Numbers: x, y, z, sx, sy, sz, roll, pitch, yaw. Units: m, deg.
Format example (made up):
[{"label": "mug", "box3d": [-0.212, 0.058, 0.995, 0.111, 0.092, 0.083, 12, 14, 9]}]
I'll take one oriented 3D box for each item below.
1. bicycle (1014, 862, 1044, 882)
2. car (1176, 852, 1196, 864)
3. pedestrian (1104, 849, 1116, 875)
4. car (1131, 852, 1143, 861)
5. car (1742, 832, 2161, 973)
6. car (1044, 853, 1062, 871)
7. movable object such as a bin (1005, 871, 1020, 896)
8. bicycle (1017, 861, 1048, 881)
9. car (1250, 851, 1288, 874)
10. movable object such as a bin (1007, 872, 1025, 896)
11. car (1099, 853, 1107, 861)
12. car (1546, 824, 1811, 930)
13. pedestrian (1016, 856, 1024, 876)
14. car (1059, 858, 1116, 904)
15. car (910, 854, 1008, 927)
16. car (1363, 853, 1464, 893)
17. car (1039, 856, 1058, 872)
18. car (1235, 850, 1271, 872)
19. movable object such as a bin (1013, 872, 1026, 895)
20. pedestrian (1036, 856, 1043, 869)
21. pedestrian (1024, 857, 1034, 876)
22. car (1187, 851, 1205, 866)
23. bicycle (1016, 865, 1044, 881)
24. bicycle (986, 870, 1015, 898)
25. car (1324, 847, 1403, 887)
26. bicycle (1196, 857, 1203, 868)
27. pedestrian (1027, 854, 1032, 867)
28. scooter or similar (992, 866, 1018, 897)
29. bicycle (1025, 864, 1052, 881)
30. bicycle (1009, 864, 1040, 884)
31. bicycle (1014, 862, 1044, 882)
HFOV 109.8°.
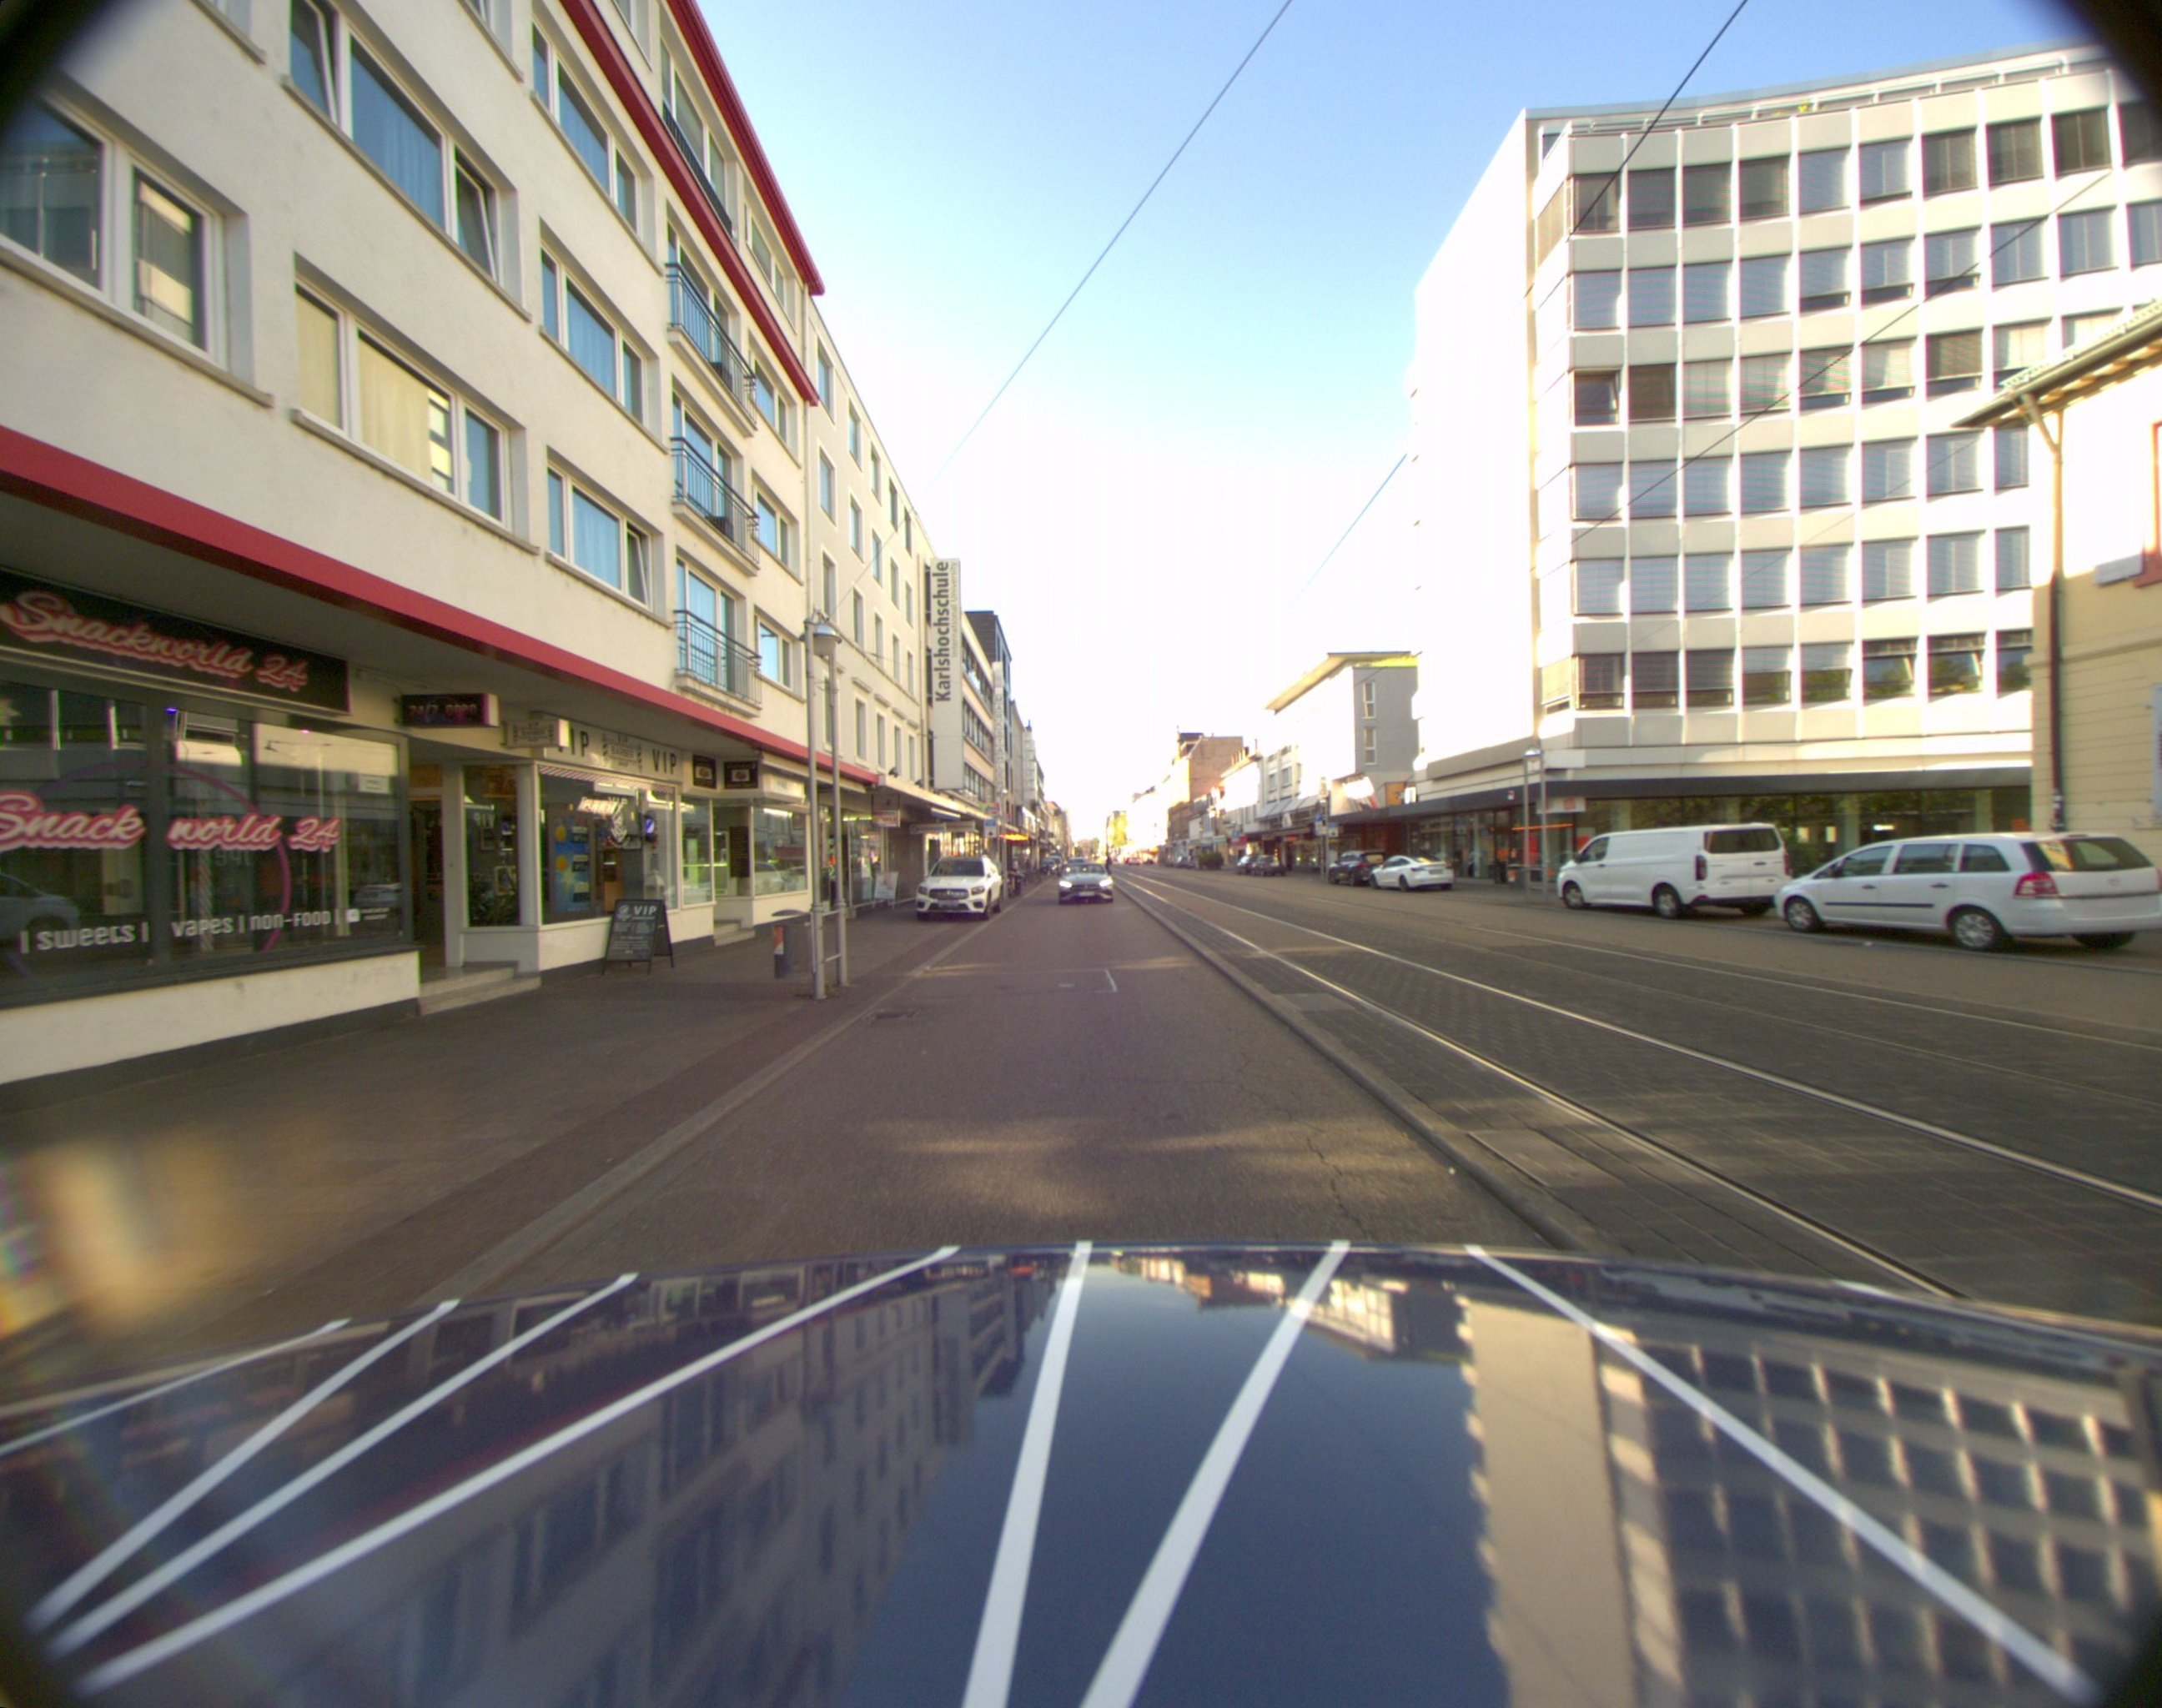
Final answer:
[{"label": "bicycle", "box3d": [-3.159, 1.099, 46.179, 1.792, 1.210, 0.669, 0, 0, -1]}, {"label": "car", "box3d": [13.522, 0.504, 98.113, 1.822, 1.505, 4.762, -2, 0, 0]}, {"label": "pedestrian", "box3d": [2.079, 0.559, 54.243, 0.806, 1.827, 0.746, 0, 1, -1]}, {"label": "car", "box3d": [10.266, 0.438, 139.206, 1.802, 1.625, 3.675, -1, 1, 0]}, {"label": "car", "box3d": [13.155, 0.581, 11.811, 1.812, 1.676, 4.649, -3, 1, 3]}, {"label": "car", "box3d": [-3.015, 0.843, 82.032, 1.821, 1.849, 4.548, 0, 1, -3]}, {"label": "movable object such as a bin", "box3d": [-2.839, 1.235, 31.657, 0.523, 1.008, 0.671, -1, 1, 3]}, {"label": "bicycle", "box3d": [-3.306, 1.149, 51.480, 2.043, 1.267, 0.524, 0, 1, -9]}, {"label": "car", "box3d": [13.313, 0.557, 53.854, 1.605, 1.514, 3.588, -3, 1, -2]}, {"label": "movable object such as a bin", "box3d": [-2.755, 1.275, 32.393, 0.688, 1.008, 0.508, -1, 1, 3]}, {"label": "car", "box3d": [5.836, 0.688, 204.993, 1.998, 2.002, 4.000, -3, 1, 1]}, {"label": "car", "box3d": [13.248, 0.434, 17.408, 1.999, 1.964, 5.096, -3, 1, 0]}, {"label": "pedestrian", "box3d": [-4.857, 0.966, 60.727, 0.583, 1.576, 0.597, 1, 1, -2]}, {"label": "car", "box3d": [0.217, 0.901, 27.478, 1.858, 1.463, 4.785, -1, 0, 0]}, {"label": "car", "box3d": [-3.196, 0.881, 20.909, 1.854, 1.714, 5.192, 1, 0, 0]}, {"label": "car", "box3d": [13.349, 0.708, 30.847, 1.893, 1.413, 4.655, -3, 0, -1]}, {"label": "car", "box3d": [-3.227, 0.943, 75.557, 1.726, 1.476, 4.416, 1, 1, 0]}, {"label": "car", "box3d": [13.573, 0.514, 60.154, 1.741, 1.514, 4.851, -3, 0, 1]}, {"label": "movable object such as a bin", "box3d": [-2.681, 1.281, 32.936, 0.489, 0.952, 0.458, 0, 1, 3]}, {"label": "pedestrian", "box3d": [-4.548, 0.937, 84.175, 0.697, 1.499, 0.814, -1, 0, 0]}, {"label": "pedestrian", "box3d": [-4.165, 1.010, 61.205, 0.584, 1.485, 0.523, 0, 1, -36]}, {"label": "car", "box3d": [13.423, 0.533, 88.805, 1.701, 1.594, 2.891, -3, 1, 0]}, {"label": "bicycle", "box3d": [-3.234, 1.217, 48.320, 1.778, 1.026, 0.597, 0, 0, -1]}, {"label": "bicycle", "box3d": [-3.236, 1.210, 30.702, 1.134, 1.073, 0.320, 1, 1, -1]}, {"label": "car", "box3d": [13.334, 0.571, 36.150, 1.983, 1.669, 4.655, -3, 1, 1]}, {"label": "bicycle", "box3d": [12.703, 0.897, 81.486, 0.519, 1.084, 1.716, -3, 1, 0]}, {"label": "pedestrian", "box3d": [-5.773, 0.750, 85.270, 0.577, 1.431, 0.731, 1, 1, 0]}, {"label": "scooter or similar", "box3d": [-3.098, 1.125, 31.049, 0.995, 1.224, 0.320, 1, 1, -1]}, {"label": "bicycle", "box3d": [-2.819, 1.221, 50.192, 1.778, 1.124, 0.478, 0, 0, -5]}, {"label": "bicycle", "box3d": [-3.337, 1.171, 44.784, 1.792, 1.153, 0.669, 0, 0, -1]}, {"label": "bicycle", "box3d": [-3.210, 1.133, 47.006, 1.792, 1.210, 0.587, 0, 0, -1]}]
